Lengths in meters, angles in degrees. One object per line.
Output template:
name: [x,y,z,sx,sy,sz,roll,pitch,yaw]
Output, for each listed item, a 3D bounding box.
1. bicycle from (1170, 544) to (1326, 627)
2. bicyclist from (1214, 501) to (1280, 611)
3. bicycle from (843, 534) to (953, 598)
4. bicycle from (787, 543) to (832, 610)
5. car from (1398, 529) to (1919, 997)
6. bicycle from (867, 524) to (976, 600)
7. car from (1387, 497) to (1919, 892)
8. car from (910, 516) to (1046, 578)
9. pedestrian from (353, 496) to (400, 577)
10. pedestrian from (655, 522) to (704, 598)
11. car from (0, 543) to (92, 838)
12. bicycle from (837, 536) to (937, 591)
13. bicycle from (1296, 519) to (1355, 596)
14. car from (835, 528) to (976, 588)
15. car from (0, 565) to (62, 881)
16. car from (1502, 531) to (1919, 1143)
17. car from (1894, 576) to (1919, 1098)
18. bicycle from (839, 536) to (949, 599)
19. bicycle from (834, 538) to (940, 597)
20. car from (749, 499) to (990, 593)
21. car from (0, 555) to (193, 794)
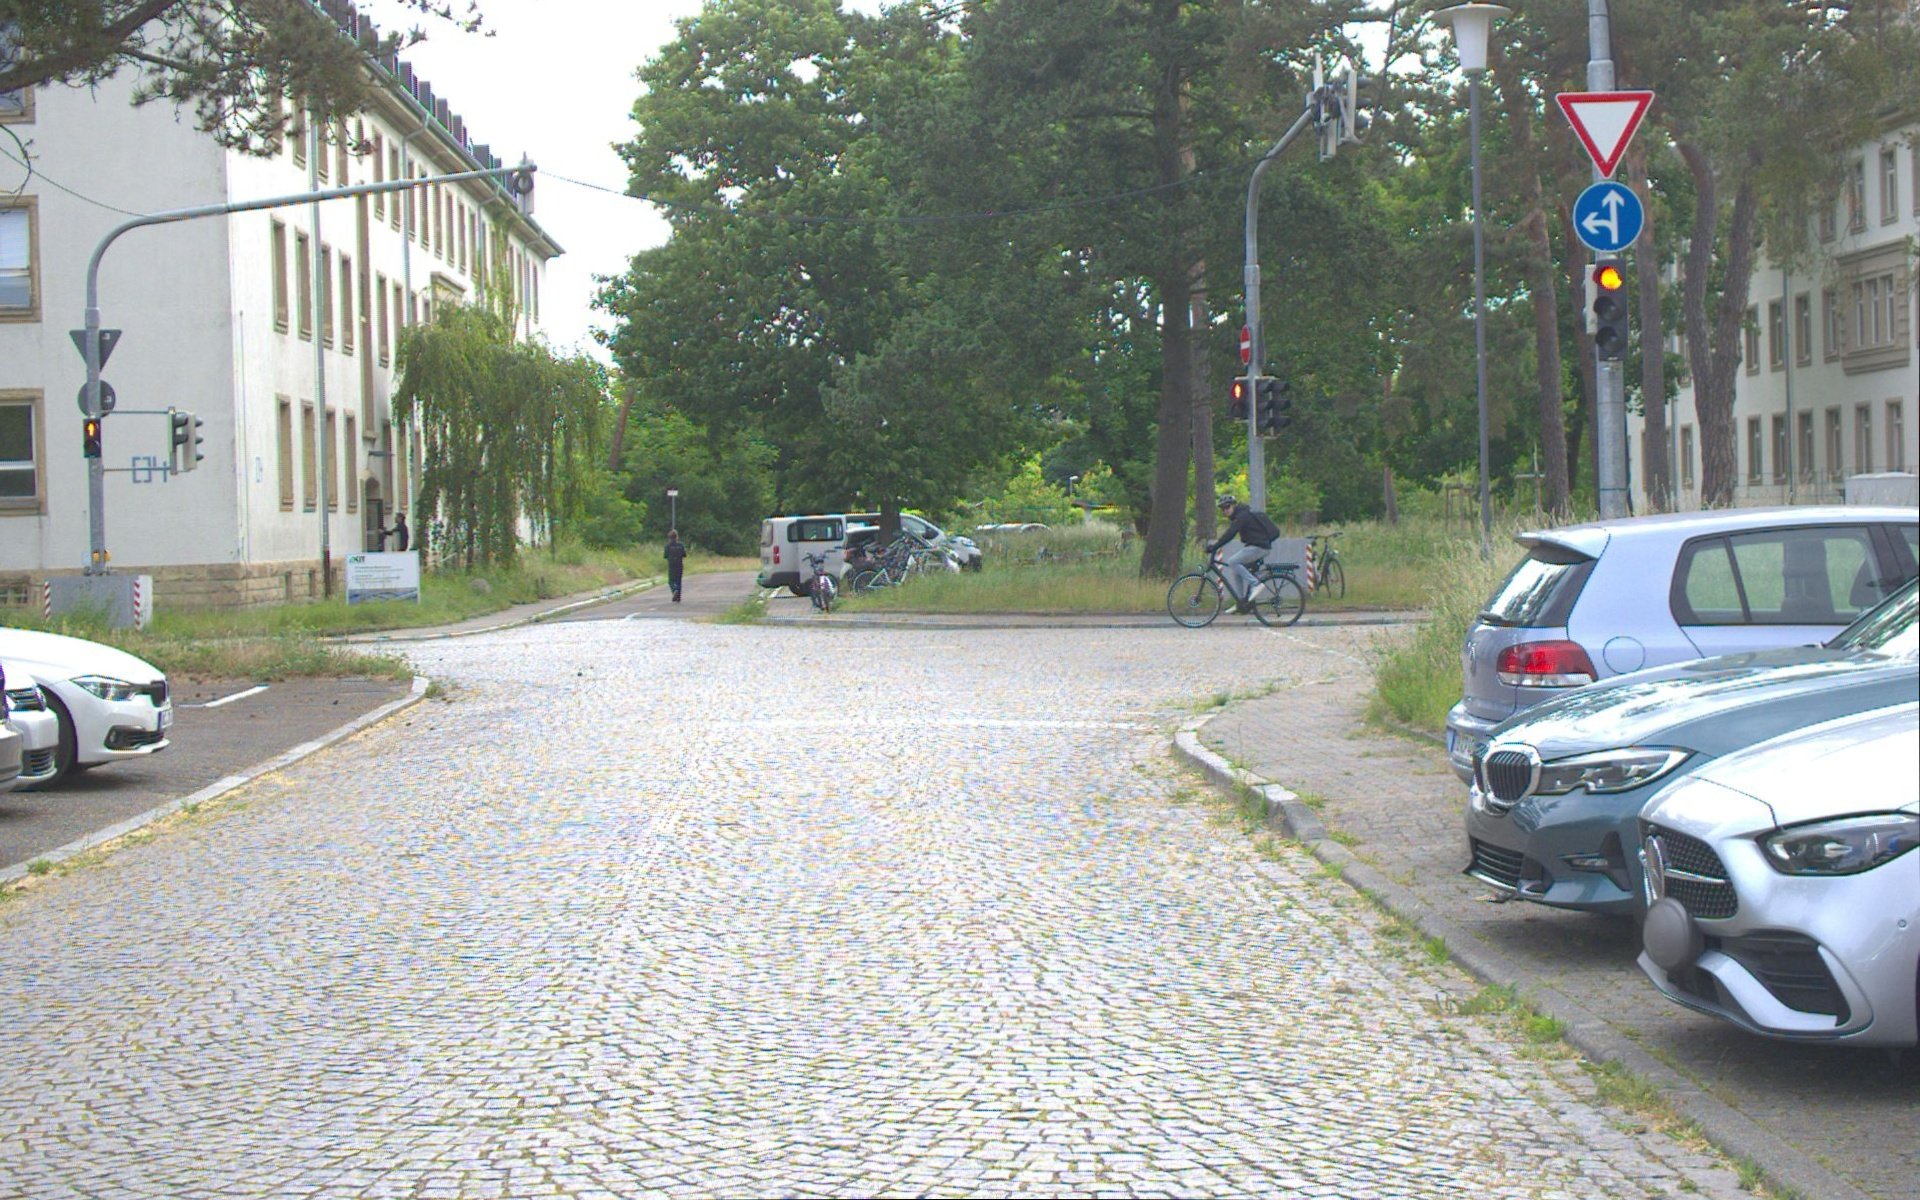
bicycle: [3.749,-0.196,44.799,1.955,1.020,0.605,-2,1,-2]
bicyclist: [3.736,-0.582,44.789,0.749,1.405,0.605,-1,1,-2]
bicycle: [-1.149,-0.627,63.475,1.954,1.128,0.588,-2,1,-8]
bicycle: [-2.642,-0.415,60.241,0.603,1.128,1.962,-2,1,-7]
car: [4.101,0.433,12.304,4.680,1.411,1.871,-3,1,-4]
bicycle: [-0.724,-0.728,64.949,1.954,1.379,0.588,-2,1,-8]
car: [3.937,0.317,14.750,3.927,1.472,1.642,-3,1,0]
car: [0.435,-1.329,85.483,3.231,1.411,1.725,-2,1,-4]
pedestrian: [-13.391,-1.457,78.882,0.774,1.831,0.741,-2,1,-33]
pedestrian: [-6.035,-0.863,73.976,0.738,1.613,0.776,-2,1,-30]
car: [-6.968,0.440,19.043,3.947,1.558,1.650,1,1,-5]
bicycle: [-1.497,-0.747,70.621,1.955,1.066,0.588,-2,1,-26]
bicycle: [5.466,-0.648,51.531,0.586,1.102,1.962,-1,1,-2]
car: [-1.254,-0.957,78.186,3.005,1.264,1.536,-2,1,-7]
car: [-6.308,0.528,16.275,3.745,1.424,1.583,1,1,-5]
car: [3.976,0.458,9.612,4.421,1.411,1.871,-4,2,-10]
car: [4.428,0.551,7.356,4.261,1.411,1.871,-3,1,-2]
bicycle: [-1.234,-0.616,64.107,1.954,1.113,0.588,-2,1,-8]
bicycle: [-1.392,-0.622,65.587,1.955,1.066,0.588,-2,2,-31]
car: [-2.164,-1.286,81.532,5.359,1.918,2.025,-3,1,-10]
car: [-6.967,0.416,21.581,3.947,1.416,1.650,1,1,-2]
